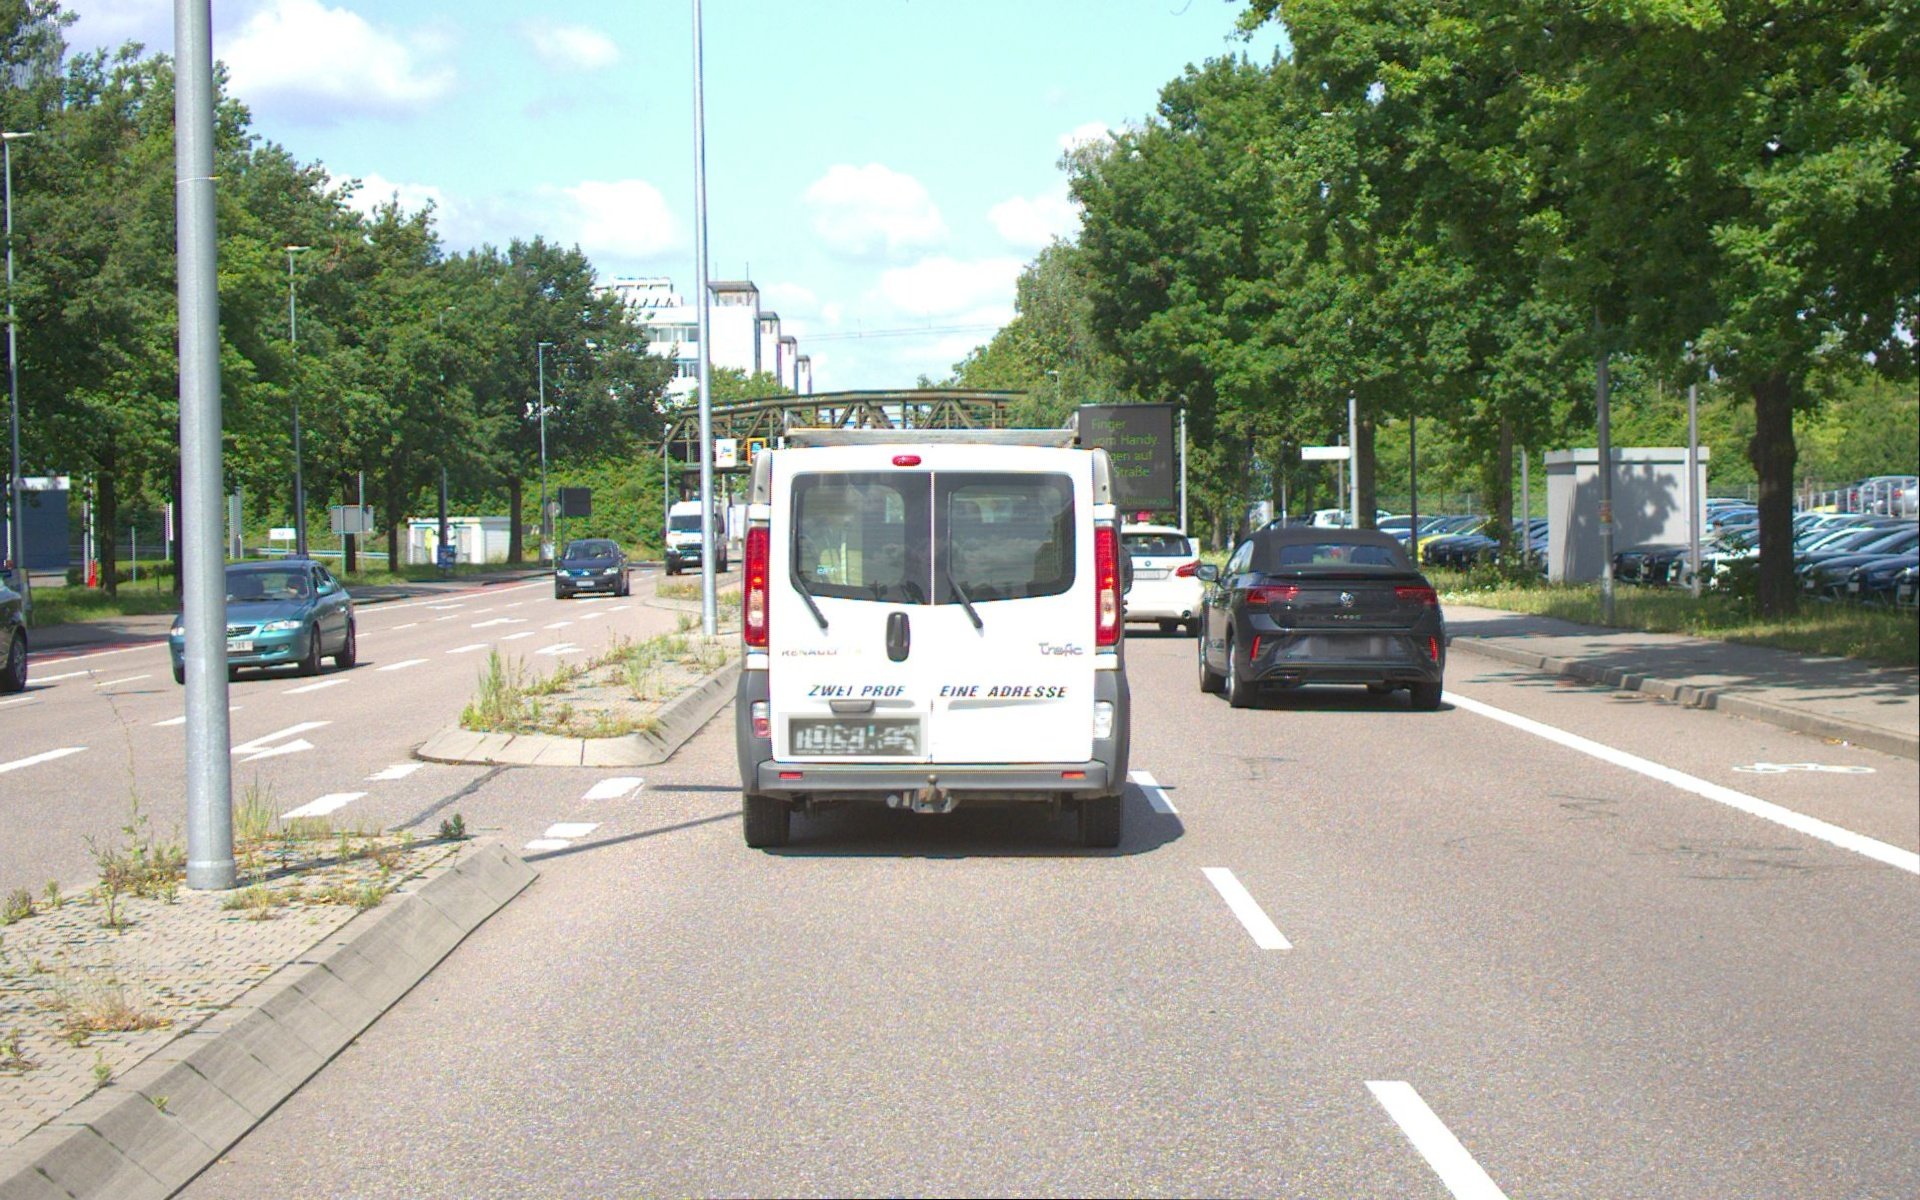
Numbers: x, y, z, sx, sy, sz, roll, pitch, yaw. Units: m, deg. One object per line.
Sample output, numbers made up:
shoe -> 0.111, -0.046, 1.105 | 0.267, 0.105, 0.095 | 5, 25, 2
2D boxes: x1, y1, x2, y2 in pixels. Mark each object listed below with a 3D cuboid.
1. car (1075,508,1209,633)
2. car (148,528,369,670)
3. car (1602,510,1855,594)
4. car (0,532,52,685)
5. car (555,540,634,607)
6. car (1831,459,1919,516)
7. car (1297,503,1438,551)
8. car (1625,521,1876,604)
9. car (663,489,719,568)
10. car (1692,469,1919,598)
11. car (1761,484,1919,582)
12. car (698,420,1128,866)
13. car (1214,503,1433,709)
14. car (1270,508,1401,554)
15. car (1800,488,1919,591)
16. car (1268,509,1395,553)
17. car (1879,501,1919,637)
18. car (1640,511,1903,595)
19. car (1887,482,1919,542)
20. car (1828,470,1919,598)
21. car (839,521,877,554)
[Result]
car -> 2.540, -0.454, 48.697 | 1.774, 1.623, 4.000 | 0, 2, 1
car -> -8.585, -0.064, 42.470 | 1.773, 1.543, 4.821 | -3, 1, -1
car -> 14.458, -0.917, 64.831 | 4.355, 1.507, 1.855 | -1, 1, 0
car -> -12.045, 0.157, 39.553 | 1.928, 1.749, 4.821 | -3, 1, -1
car -> -9.721, -0.724, 91.591 | 1.738, 1.604, 4.242 | -4, 2, -3
car -> 30.135, -3.579, 109.401 | 4.355, 1.768, 1.936 | 0, 3, 3
car -> 13.474, -2.437, 113.831 | 4.354, 1.507, 1.936 | 0, 3, -1
car -> 14.274, -0.686, 62.208 | 4.107, 1.440, 1.855 | 0, 2, 0
car -> -10.146, -2.700, 129.786 | 2.022, 2.883, 6.383 | -1, 1, -5
car -> 14.558, -1.102, 56.561 | 4.574, 2.042, 1.907 | 0, 3, 0
car -> 14.567, -1.012, 51.671 | 4.574, 1.400, 1.907 | 0, 3, 0
car -> -0.156, 0.105, 18.097 | 1.973, 2.052, 4.565 | 0, 2, 2
car -> 3.132, -0.007, 30.062 | 1.774, 1.623, 4.000 | 0, 2, 5
car -> 13.179, -2.428, 120.782 | 4.354, 1.507, 1.936 | 0, 3, -1
car -> 14.522, -0.874, 49.061 | 4.574, 1.400, 1.907 | 0, 3, 0
car -> 13.443, -2.515, 124.608 | 4.354, 1.507, 1.936 | 0, 3, -1
car -> 14.378, -0.405, 44.206 | 4.574, 1.672, 1.907 | 0, 3, 0
car -> 14.037, -0.824, 59.626 | 4.107, 1.399, 1.818 | -1, 1, 0
car -> 30.511, -2.658, 104.138 | 4.355, 1.768, 1.936 | 0, 3, 3
car -> 14.317, -0.901, 46.603 | 4.574, 1.672, 1.907 | 0, 3, 0
car -> -5.846, -3.588, 196.623 | 1.993, 1.765, 4.001 | 0, 3, 1
